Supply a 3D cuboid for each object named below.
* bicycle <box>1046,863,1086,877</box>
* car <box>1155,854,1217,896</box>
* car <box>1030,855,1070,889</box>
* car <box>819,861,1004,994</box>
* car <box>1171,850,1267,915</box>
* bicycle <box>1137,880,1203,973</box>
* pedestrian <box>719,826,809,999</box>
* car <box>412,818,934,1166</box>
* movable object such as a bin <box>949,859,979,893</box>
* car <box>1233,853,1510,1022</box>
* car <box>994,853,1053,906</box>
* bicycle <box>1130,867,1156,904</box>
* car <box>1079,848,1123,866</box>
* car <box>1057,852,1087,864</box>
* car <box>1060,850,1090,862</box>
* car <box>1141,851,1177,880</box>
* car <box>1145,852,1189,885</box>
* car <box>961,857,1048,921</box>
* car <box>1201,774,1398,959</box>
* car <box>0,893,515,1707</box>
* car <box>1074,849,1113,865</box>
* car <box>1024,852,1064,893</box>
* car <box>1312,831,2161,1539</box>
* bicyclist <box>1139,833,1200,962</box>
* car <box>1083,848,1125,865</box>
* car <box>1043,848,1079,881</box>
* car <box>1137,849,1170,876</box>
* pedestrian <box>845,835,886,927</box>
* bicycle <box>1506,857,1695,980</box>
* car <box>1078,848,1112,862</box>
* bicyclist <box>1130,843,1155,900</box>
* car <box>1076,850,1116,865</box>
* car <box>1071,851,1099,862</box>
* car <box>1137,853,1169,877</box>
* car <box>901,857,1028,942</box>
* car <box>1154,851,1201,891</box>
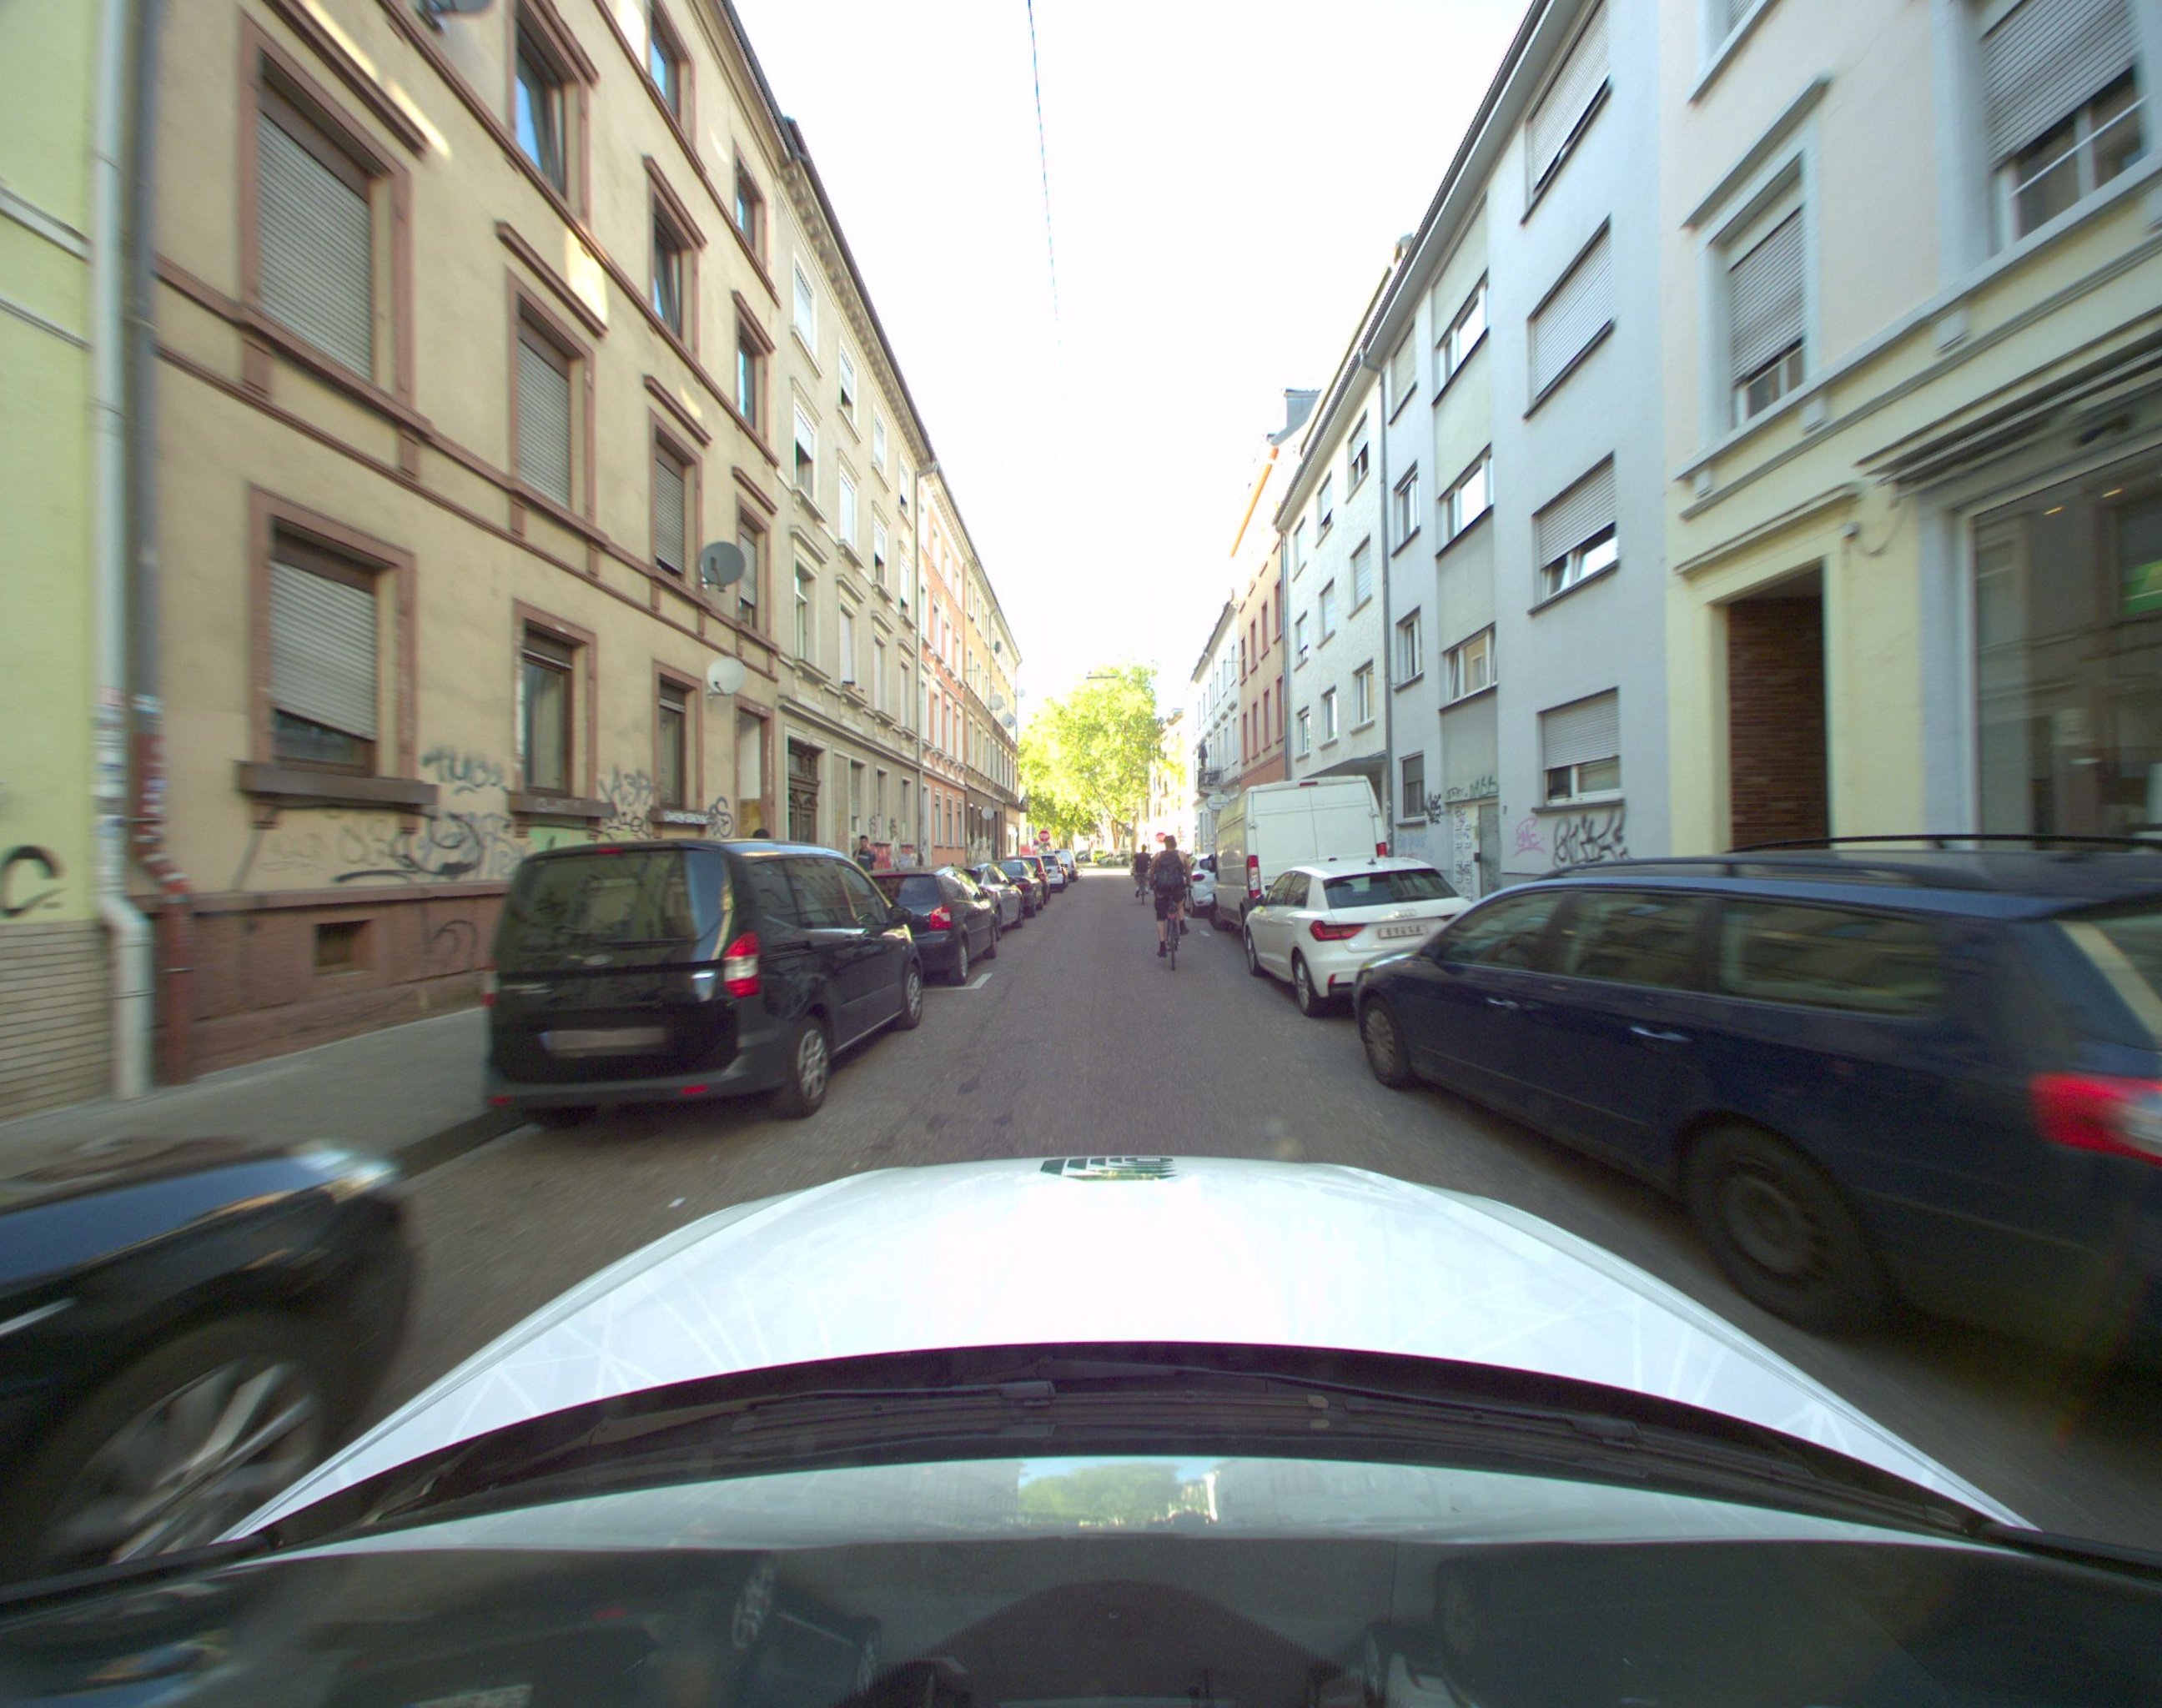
[{"bbox_3d":[-1.018,1.067,55.316,2.708,0.892,0.618,-2,0,-1],"label":"bicycle"},{"bbox_3d":[3.615,0.687,28.733,1.652,1.338,4.000,-2,0,0],"label":"car"},{"bbox_3d":[-1.387,0.785,37.329,1.547,1.399,3.669,-2,0,1],"label":"car"},{"bbox_3d":[-2.124,0.863,11.192,1.585,1.440,3.656,-2,0,3],"label":"car"},{"bbox_3d":[3.437,0.671,21.027,1.726,1.470,4.019,-2,0,-1],"label":"car"},{"bbox_3d":[1.196,0.943,11.274,0.737,1.100,2.043,0,0,1],"label":"bicycle"},{"bbox_3d":[-3.475,0.615,8.978,0.648,1.817,0.754,1,0,2],"label":"pedestrian"},{"bbox_3d":[-2.478,0.715,6.218,1.794,1.698,4.001,-3,0,1],"label":"car"},{"bbox_3d":[-4.145,0.776,28.871,0.831,1.126,0.716,-6,0,4],"label":"movable object such as a bin"},{"bbox_3d":[2.907,0.728,9.058,1.719,1.429,3.832,-2,0,0],"label":"car"},{"bbox_3d":[-1.782,0.764,26.190,1.599,1.530,3.378,-2,0,0],"label":"car"},{"bbox_3d":[1.860,0.932,24.697,0.661,1.037,1.959,-2,0,2],"label":"bicycle"},{"bbox_3d":[2.041,0.335,85.069,4.458,1.759,1.864,-2,0,-3],"label":"car"},{"bbox_3d":[-1.373,0.571,125.662,4.458,1.696,1.864,-2,0,-3],"label":"car"},{"bbox_3d":[-0.919,0.326,123.119,4.458,1.696,1.864,-2,0,-3],"label":"car"},{"bbox_3d":[4.399,0.635,46.384,1.647,1.530,3.574,-2,0,0],"label":"car"},{"bbox_3d":[4.093,0.664,39.279,1.705,1.470,4.000,-2,0,0],"label":"car"},{"bbox_3d":[-1.883,0.830,21.230,1.700,1.414,4.304,-2,0,2],"label":"car"},{"bbox_3d":[3.517,0.165,14.492,2.195,2.550,6.042,-2,0,4],"label":"car"},{"bbox_3d":[-2.636,0.861,0.440,1.730,1.427,4.002,-2,0,2],"label":"car"},{"bbox_3d":[1.470,0.357,96.814,4.458,1.696,1.864,-2,0,-3],"label":"car"},{"bbox_3d":[-1.472,0.726,33.564,1.540,1.550,3.463,-2,0,-1],"label":"car"},{"bbox_3d":[2.986,0.716,4.009,1.810,1.478,4.596,-4,1,-8],"label":"car"},{"bbox_3d":[1.192,0.562,11.201,0.737,1.679,1.117,0,0,1],"label":"bicyclist"},{"bbox_3d":[2.550,0.291,90.159,4.458,1.696,1.864,-2,0,-3],"label":"car"},{"bbox_3d":[-1.073,0.559,45.765,1.781,1.737,3.877,-2,0,1],"label":"car"},{"bbox_3d":[5.015,0.583,57.082,1.887,1.769,3.999,-2,0,-1],"label":"car"},{"bbox_3d":[-4.498,0.554,17.050,0.608,1.858,0.754,1,0,1],"label":"pedestrian"},{"bbox_3d":[5.744,0.642,9.215,0.625,1.158,2.353,-4,0,2],"label":"bicycle"},{"bbox_3d":[1.848,0.139,110.041,4.458,1.696,1.864,-2,0,-3],"label":"car"},{"bbox_3d":[1.852,0.524,24.578,0.667,1.658,0.877,-2,0,2],"label":"bicyclist"},{"bbox_3d":[1.699,0.405,94.301,4.458,1.696,1.864,-2,0,-3],"label":"car"},{"bbox_3d":[0.663,0.413,132.490,4.458,1.696,1.864,-2,0,-3],"label":"car"},{"bbox_3d":[4.541,0.675,51.960,1.681,1.471,3.574,-2,0,0],"label":"car"},{"bbox_3d":[-2.163,0.802,16.173,1.666,1.430,3.892,-2,0,4],"label":"car"},{"bbox_3d":[3.951,0.657,33.821,1.586,1.492,3.878,-2,0,2],"label":"car"}]
